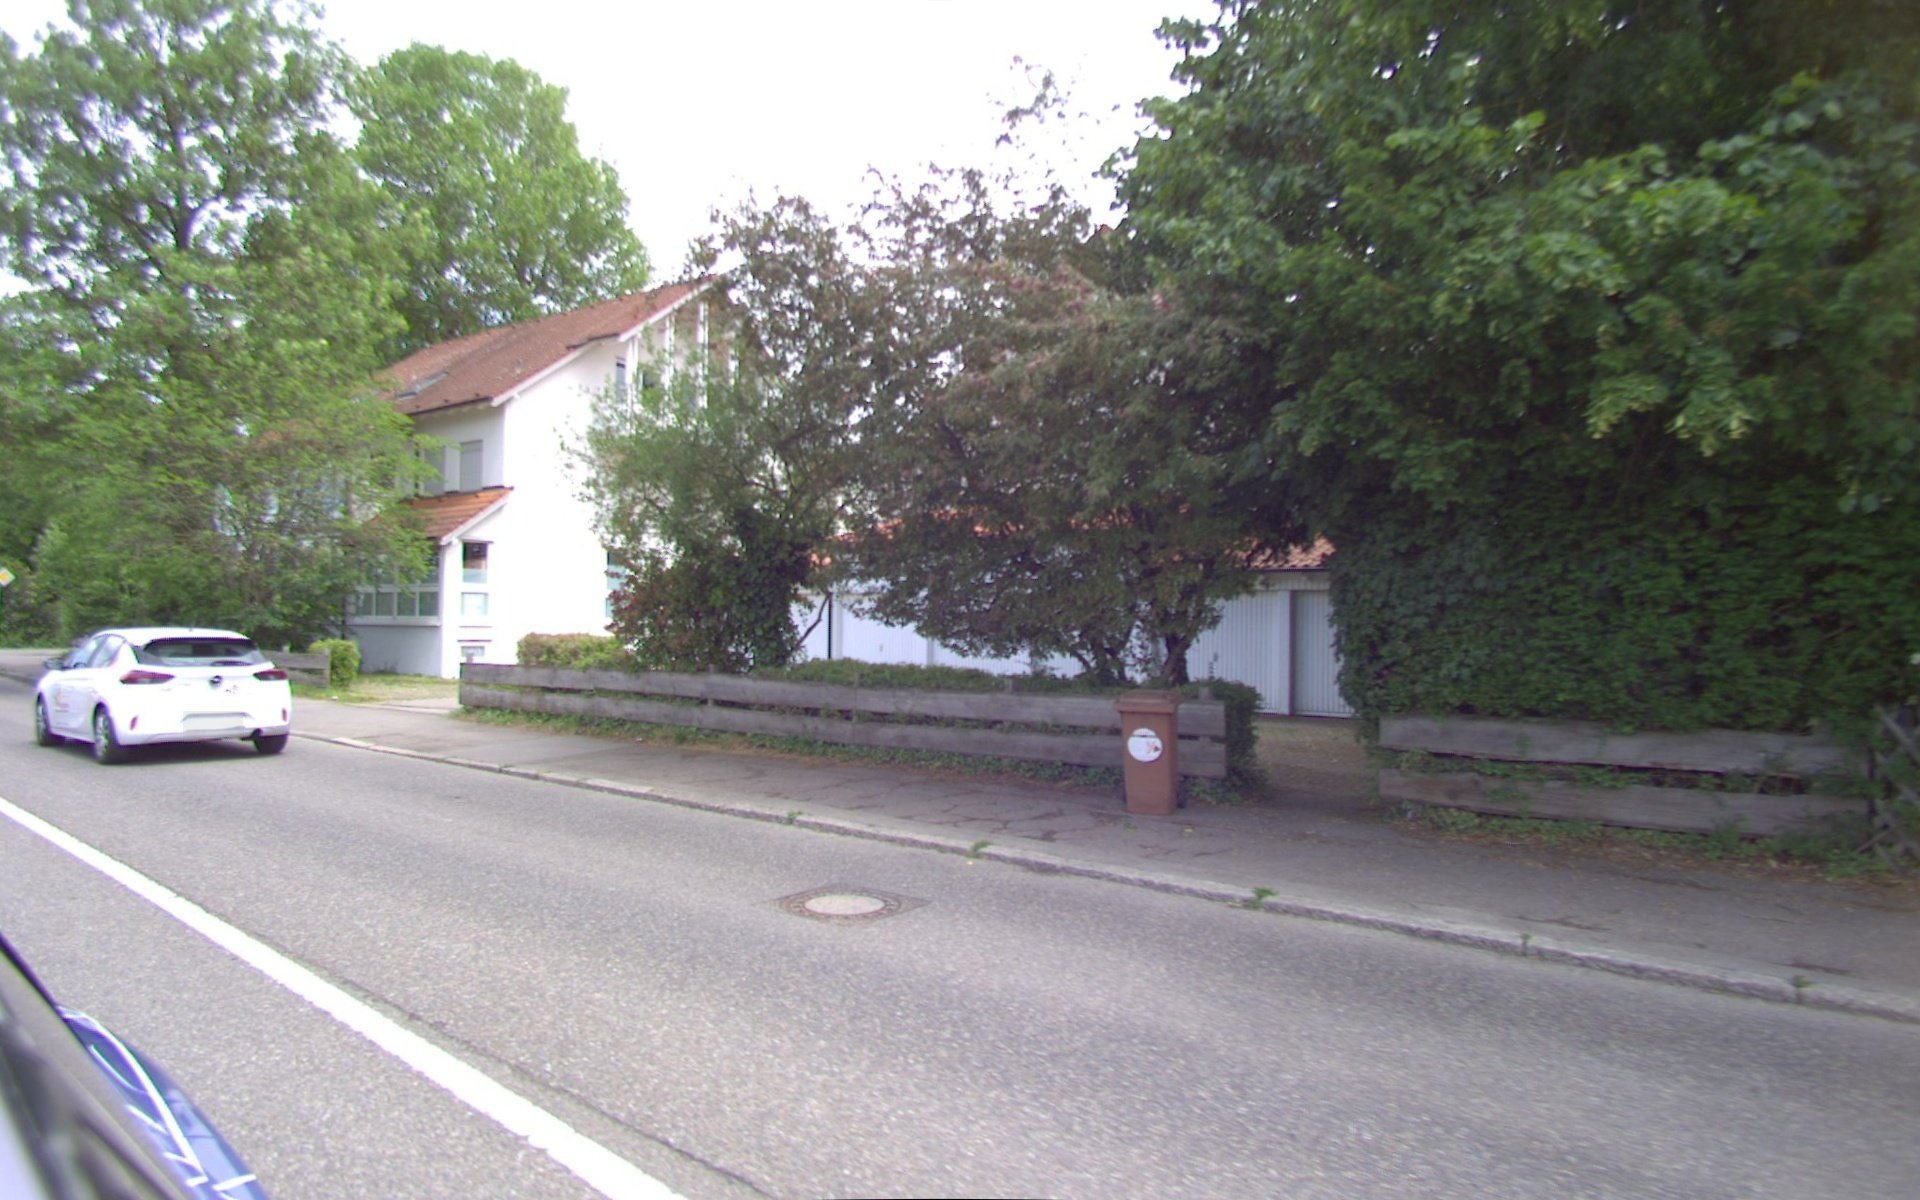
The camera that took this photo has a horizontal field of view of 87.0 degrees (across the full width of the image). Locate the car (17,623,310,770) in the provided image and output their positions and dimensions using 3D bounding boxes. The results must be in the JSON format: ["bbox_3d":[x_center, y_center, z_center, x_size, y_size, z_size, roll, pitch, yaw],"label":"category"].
[{"bbox_3d":[-9.374,1.029,11.839,3.779,1.441,1.678,-1,-4,36],"label":"car"}]

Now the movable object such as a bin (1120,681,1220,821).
[{"bbox_3d":[1.594,1.119,7.683,0.568,0.952,0.508,-1,-1,39],"label":"movable object such as a bin"}]
